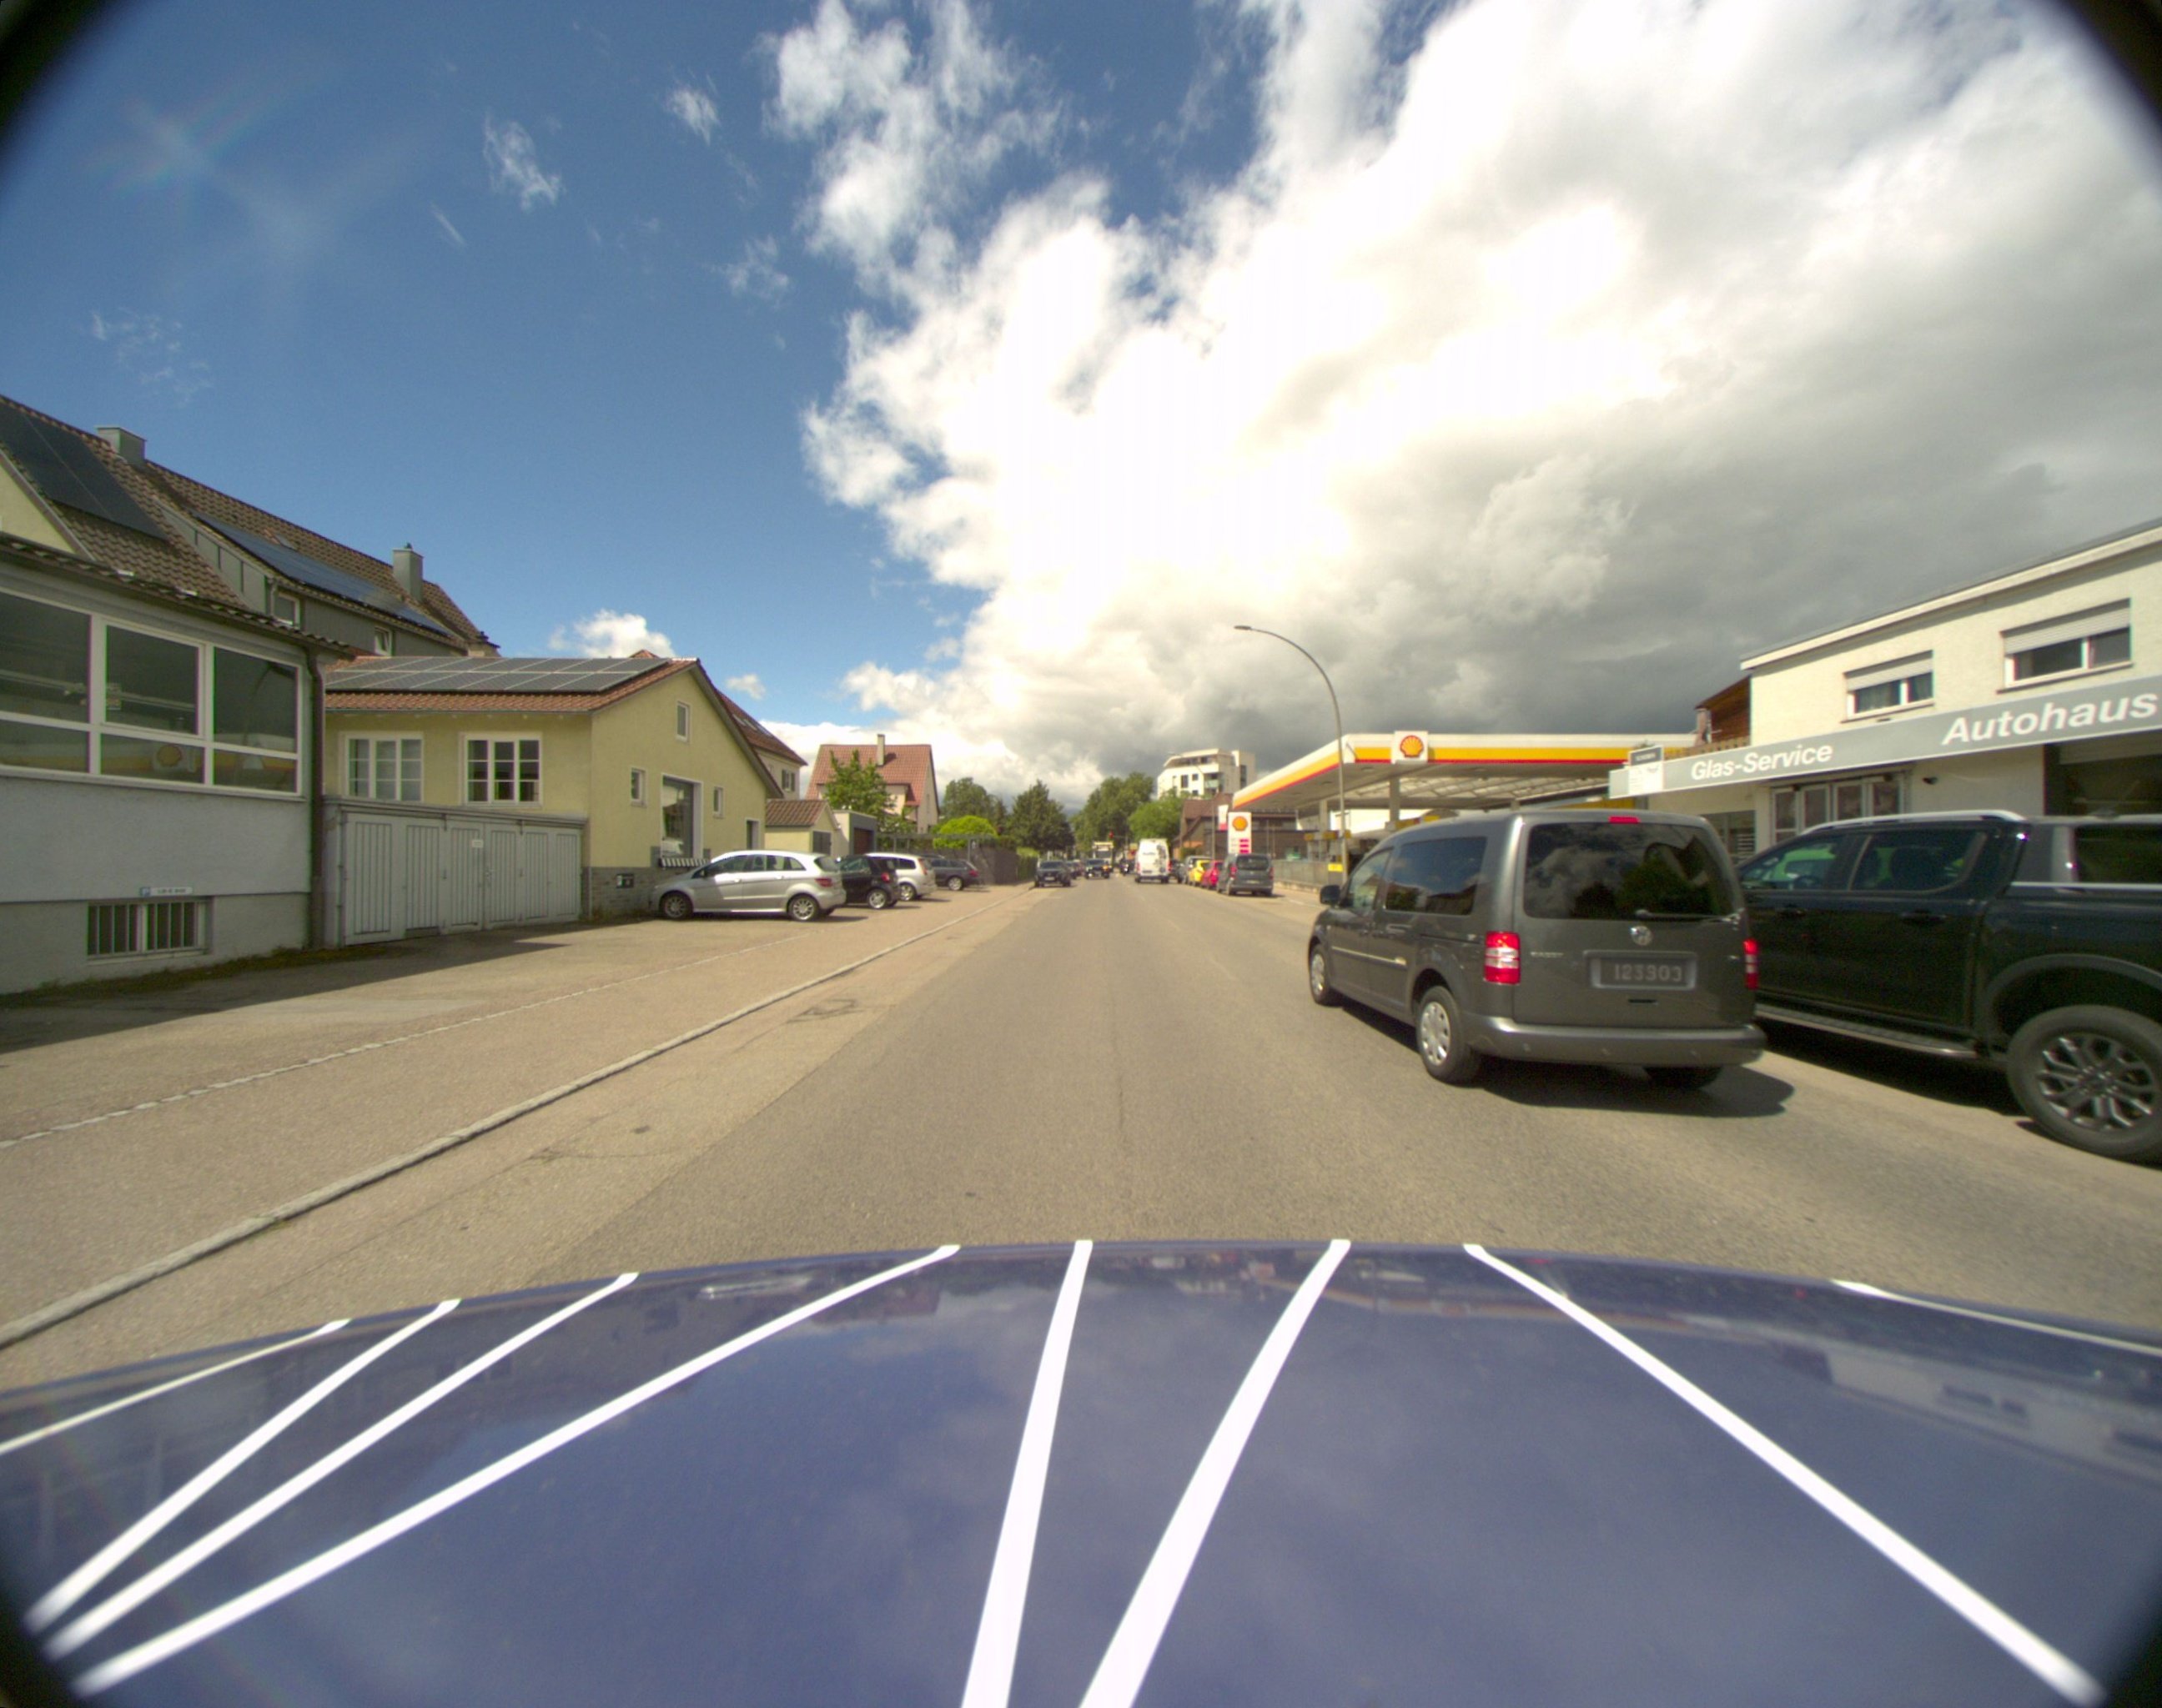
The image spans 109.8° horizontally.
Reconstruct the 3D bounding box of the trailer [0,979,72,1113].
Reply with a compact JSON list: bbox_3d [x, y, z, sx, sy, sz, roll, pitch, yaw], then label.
[{"bbox_3d":[-8.868,1.252,4.403,3.826,0.803,1.657,0,0,0],"label":"trailer"}]

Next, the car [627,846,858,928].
[{"bbox_3d":[-7.693,0.724,17.645,4.418,1.599,1.974,3,0,-2],"label":"car"}]

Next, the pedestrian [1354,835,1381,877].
[{"bbox_3d":[15.110,0.106,40.060,0.940,2.166,1.012,-2,1,0],"label":"pedestrian"}]

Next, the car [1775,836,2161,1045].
[{"bbox_3d":[10.066,0.722,7.869,1.796,1.775,4.338,-1,0,0],"label":"car"}]

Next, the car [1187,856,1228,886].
[{"bbox_3d":[7.043,0.916,42.556,1.666,1.506,3.946,3,0,2],"label":"car"}]

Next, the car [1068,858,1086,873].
[{"bbox_3d":[-0.404,1.221,82.112,1.789,1.555,3.880,-1,0,1],"label":"car"}]

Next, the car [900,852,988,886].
[{"bbox_3d":[-6.708,0.739,37.527,4.013,1.605,1.854,1,0,-2],"label":"car"}]

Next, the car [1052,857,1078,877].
[{"bbox_3d":[-1.223,0.982,59.241,1.789,1.435,3.772,-1,0,2],"label":"car"}]

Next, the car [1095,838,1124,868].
[{"bbox_3d":[3.522,-0.090,97.489,3.262,3.596,10.268,-1,0,0],"label":"car"}]

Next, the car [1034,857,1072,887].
[{"bbox_3d":[-1.531,0.969,43.232,1.789,1.548,4.317,-1,0,2],"label":"car"}]

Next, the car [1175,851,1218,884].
[{"bbox_3d":[7.099,0.800,46.943,1.789,1.857,4.315,3,0,-2],"label":"car"}]

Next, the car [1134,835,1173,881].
[{"bbox_3d":[4.611,0.232,49.043,1.997,2.749,6.164,1,0,1],"label":"car"}]

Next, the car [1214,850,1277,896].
[{"bbox_3d":[6.831,0.742,31.917,1.733,1.727,4.190,3,0,1],"label":"car"}]

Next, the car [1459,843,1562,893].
[{"bbox_3d":[17.201,0.482,30.349,4.993,1.841,1.970,-1,0,-40],"label":"car"}]

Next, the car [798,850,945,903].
[{"bbox_3d":[-7.029,0.741,25.906,4.418,1.516,1.974,3,0,-2],"label":"car"}]

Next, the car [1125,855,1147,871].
[{"bbox_3d":[5.159,0.858,71.987,1.852,1.465,3.981,1,0,1],"label":"car"}]

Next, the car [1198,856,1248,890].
[{"bbox_3d":[7.021,0.902,37.948,1.666,1.506,4.190,3,0,1],"label":"car"}]

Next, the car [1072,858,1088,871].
[{"bbox_3d":[-0.102,1.334,96.932,1.789,1.555,3.880,-1,0,1],"label":"car"}]

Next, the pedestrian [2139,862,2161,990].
[{"bbox_3d":[13.351,0.874,9.176,0.413,1.549,0.493,-2,1,1],"label":"pedestrian"}]

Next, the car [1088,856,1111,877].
[{"bbox_3d":[1.478,0.954,61.192,1.789,1.555,3.880,-1,0,1],"label":"car"}]

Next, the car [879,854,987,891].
[{"bbox_3d":[-6.553,0.790,34.022,4.418,1.399,1.974,3,0,-2],"label":"car"}]

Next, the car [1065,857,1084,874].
[{"bbox_3d":[-0.627,1.146,75.897,1.789,1.555,3.880,-1,0,1],"label":"car"}]

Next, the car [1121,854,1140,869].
[{"bbox_3d":[5.742,0.888,87.936,2.063,1.700,4.535,-1,0,3],"label":"car"}]

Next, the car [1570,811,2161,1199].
[{"bbox_3d":[6.063,0.758,5.196,1.915,1.810,5.430,3,0,1],"label":"car"}]

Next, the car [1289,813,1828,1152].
[{"bbox_3d":[3.144,0.689,6.227,1.667,1.785,4.338,1,0,0],"label":"car"}]

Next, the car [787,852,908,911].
[{"bbox_3d":[-6.724,0.769,22.162,2.895,1.516,1.974,3,0,-2],"label":"car"}]
